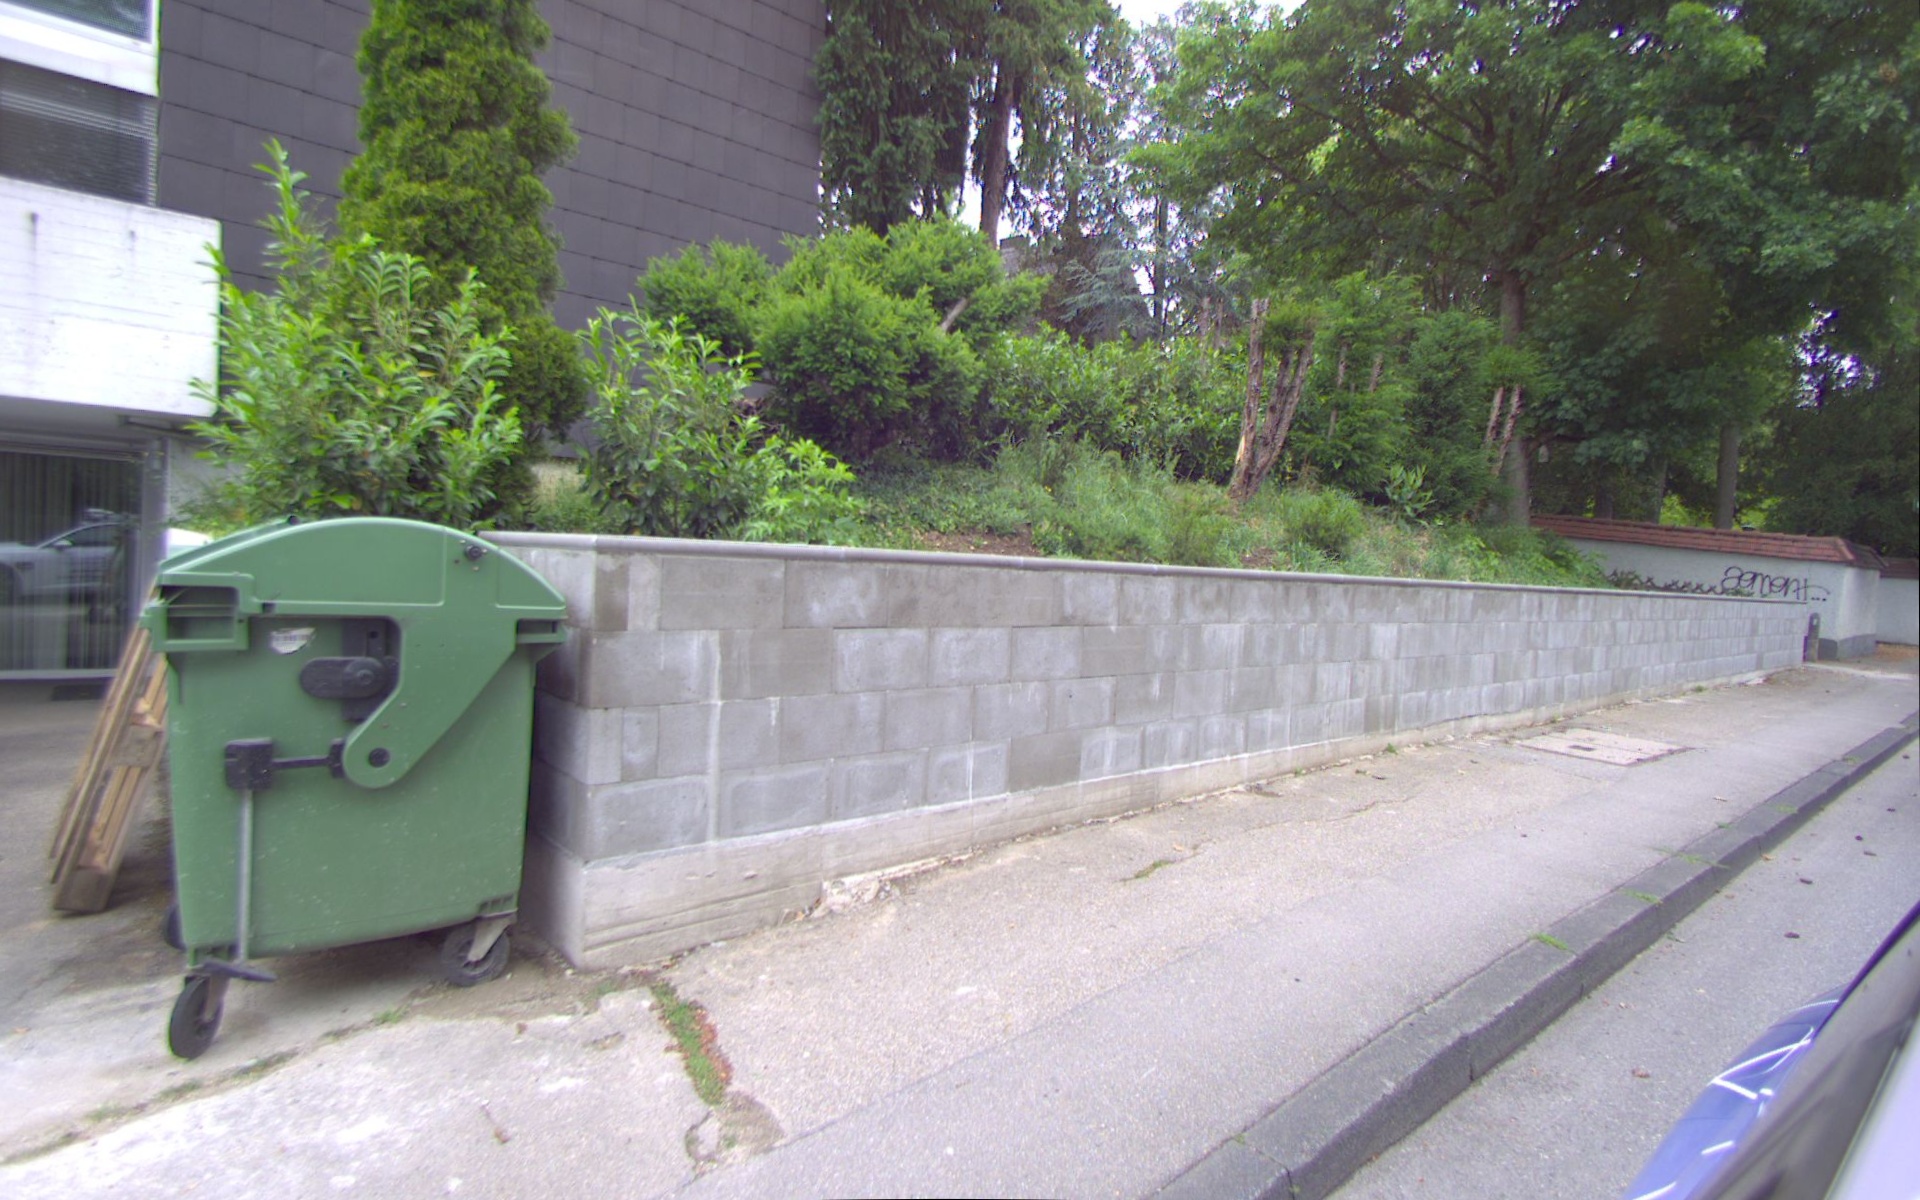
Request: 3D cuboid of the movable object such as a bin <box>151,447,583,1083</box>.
[{"bbox_3d":[-1.880,0.379,3.179,1.014,1.549,1.037,0,2,-39],"label":"movable object such as a bin"}]
